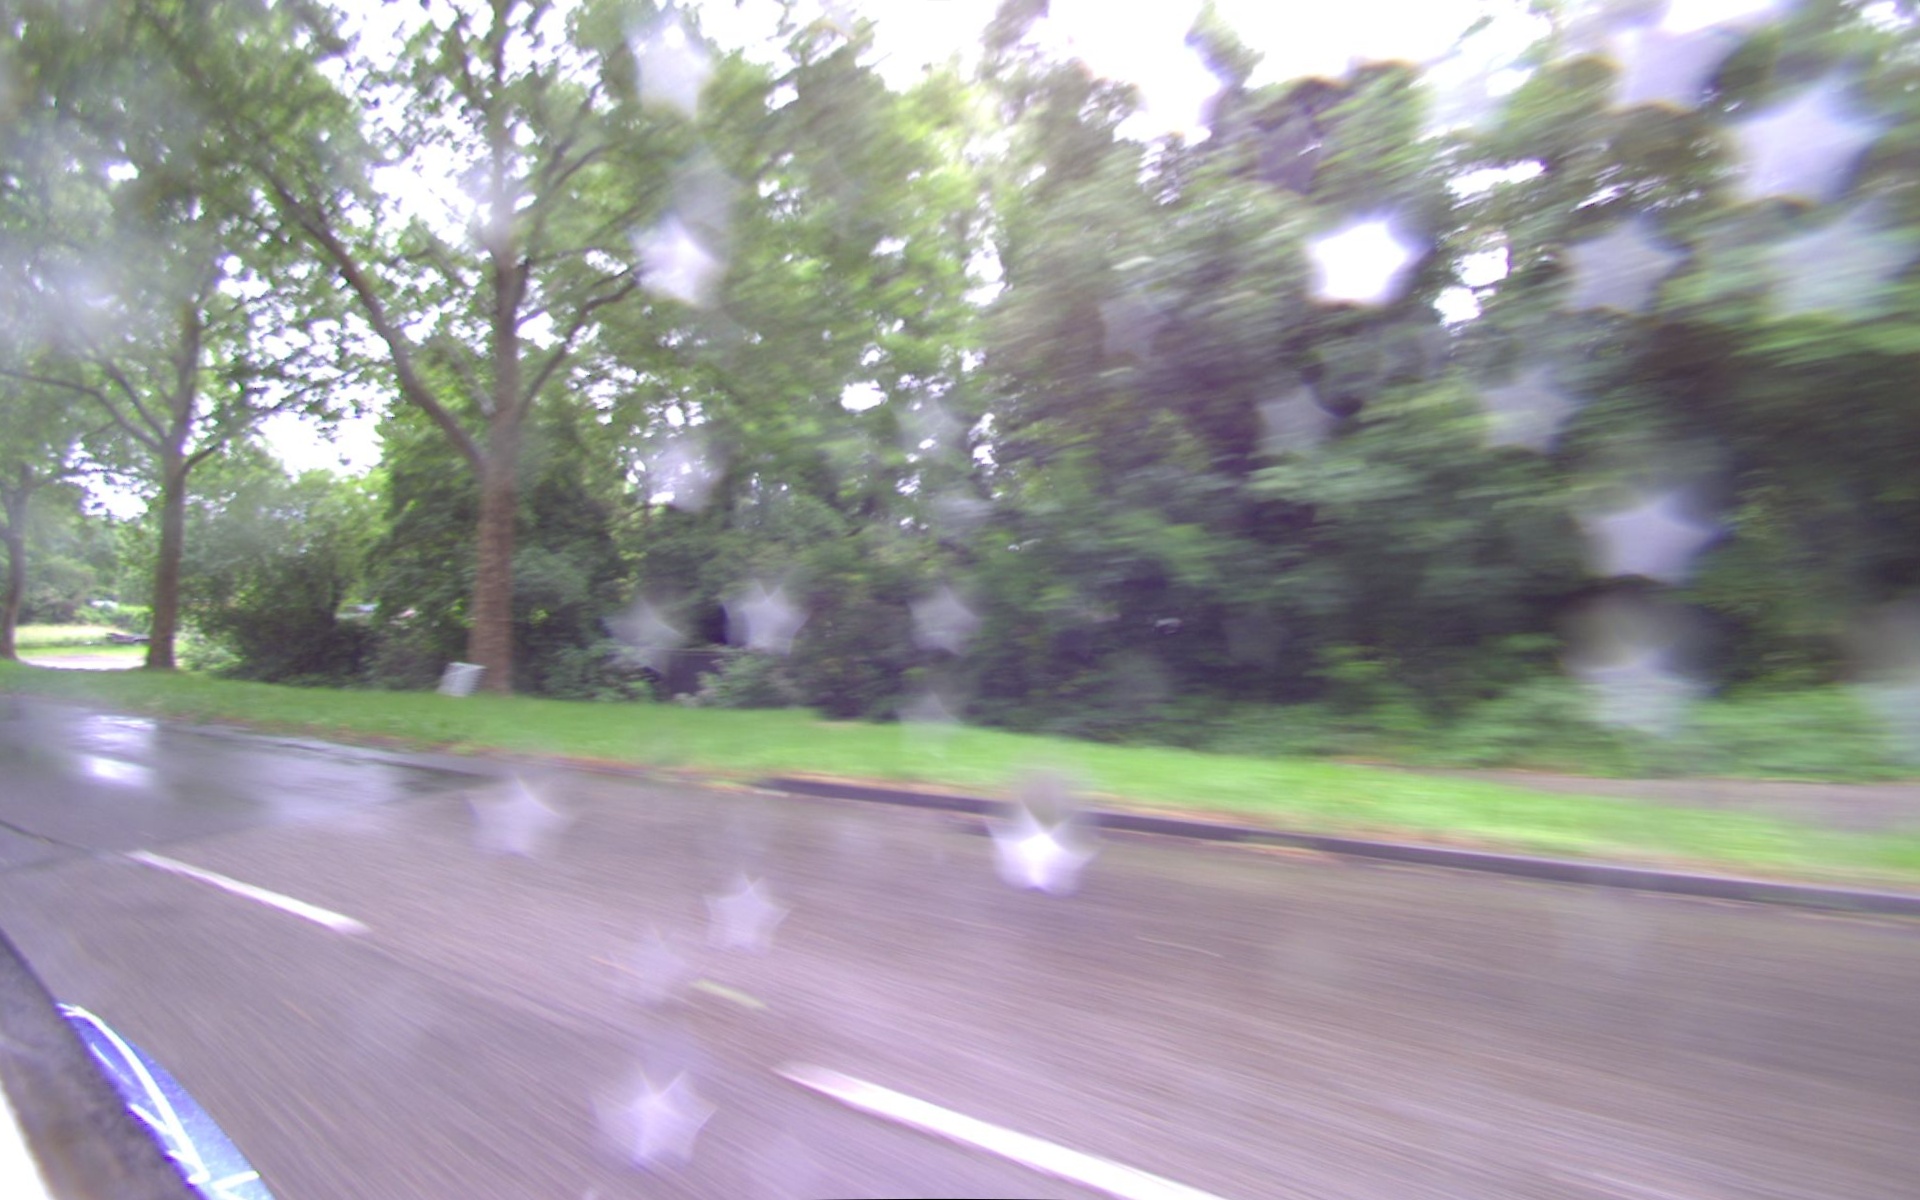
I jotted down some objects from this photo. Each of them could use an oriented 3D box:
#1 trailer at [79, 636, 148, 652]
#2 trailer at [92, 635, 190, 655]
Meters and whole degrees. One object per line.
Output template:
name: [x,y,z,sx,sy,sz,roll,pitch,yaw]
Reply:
trailer: [-53.817,2.783,64.363,1.766,0.952,3.047,0,0,37]
trailer: [-50.836,2.757,62.909,2.377,1.040,4.279,0,0,35]
